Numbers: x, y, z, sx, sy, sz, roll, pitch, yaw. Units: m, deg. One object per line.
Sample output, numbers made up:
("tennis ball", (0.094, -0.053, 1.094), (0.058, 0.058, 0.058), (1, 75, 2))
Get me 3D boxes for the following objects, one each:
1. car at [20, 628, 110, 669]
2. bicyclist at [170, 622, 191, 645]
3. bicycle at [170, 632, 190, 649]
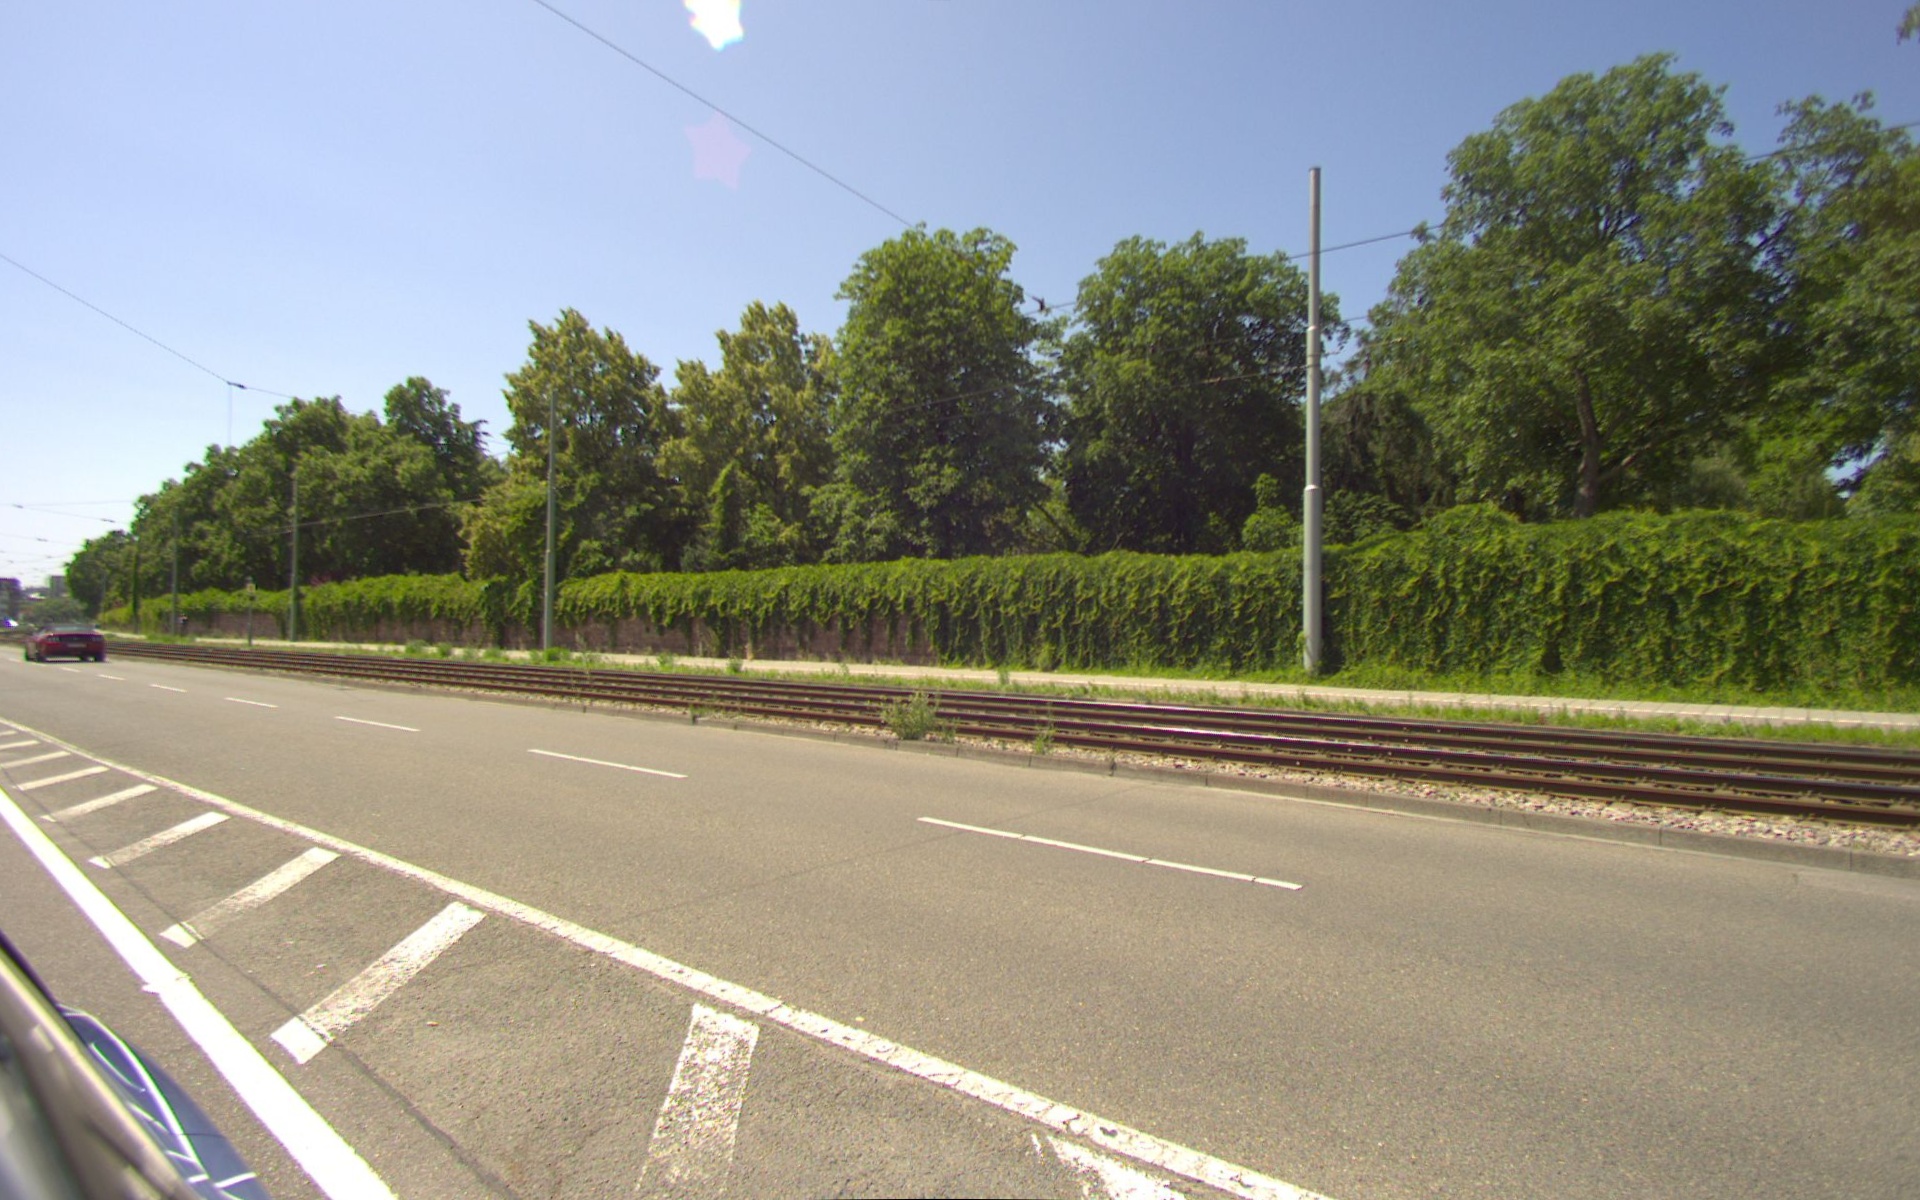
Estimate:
("car", (-32.446, 1.703, 36.657), (4.537, 1.369, 1.962), (-1, -2, 42))
("bicyclist", (-52.872, 2.261, 68.641), (0.983, 1.497, 1.001), (1, -2, -44))
("bicycle", (-53.017, 2.741, 68.760), (0.818, 1.165, 2.688), (1, -2, -43))
